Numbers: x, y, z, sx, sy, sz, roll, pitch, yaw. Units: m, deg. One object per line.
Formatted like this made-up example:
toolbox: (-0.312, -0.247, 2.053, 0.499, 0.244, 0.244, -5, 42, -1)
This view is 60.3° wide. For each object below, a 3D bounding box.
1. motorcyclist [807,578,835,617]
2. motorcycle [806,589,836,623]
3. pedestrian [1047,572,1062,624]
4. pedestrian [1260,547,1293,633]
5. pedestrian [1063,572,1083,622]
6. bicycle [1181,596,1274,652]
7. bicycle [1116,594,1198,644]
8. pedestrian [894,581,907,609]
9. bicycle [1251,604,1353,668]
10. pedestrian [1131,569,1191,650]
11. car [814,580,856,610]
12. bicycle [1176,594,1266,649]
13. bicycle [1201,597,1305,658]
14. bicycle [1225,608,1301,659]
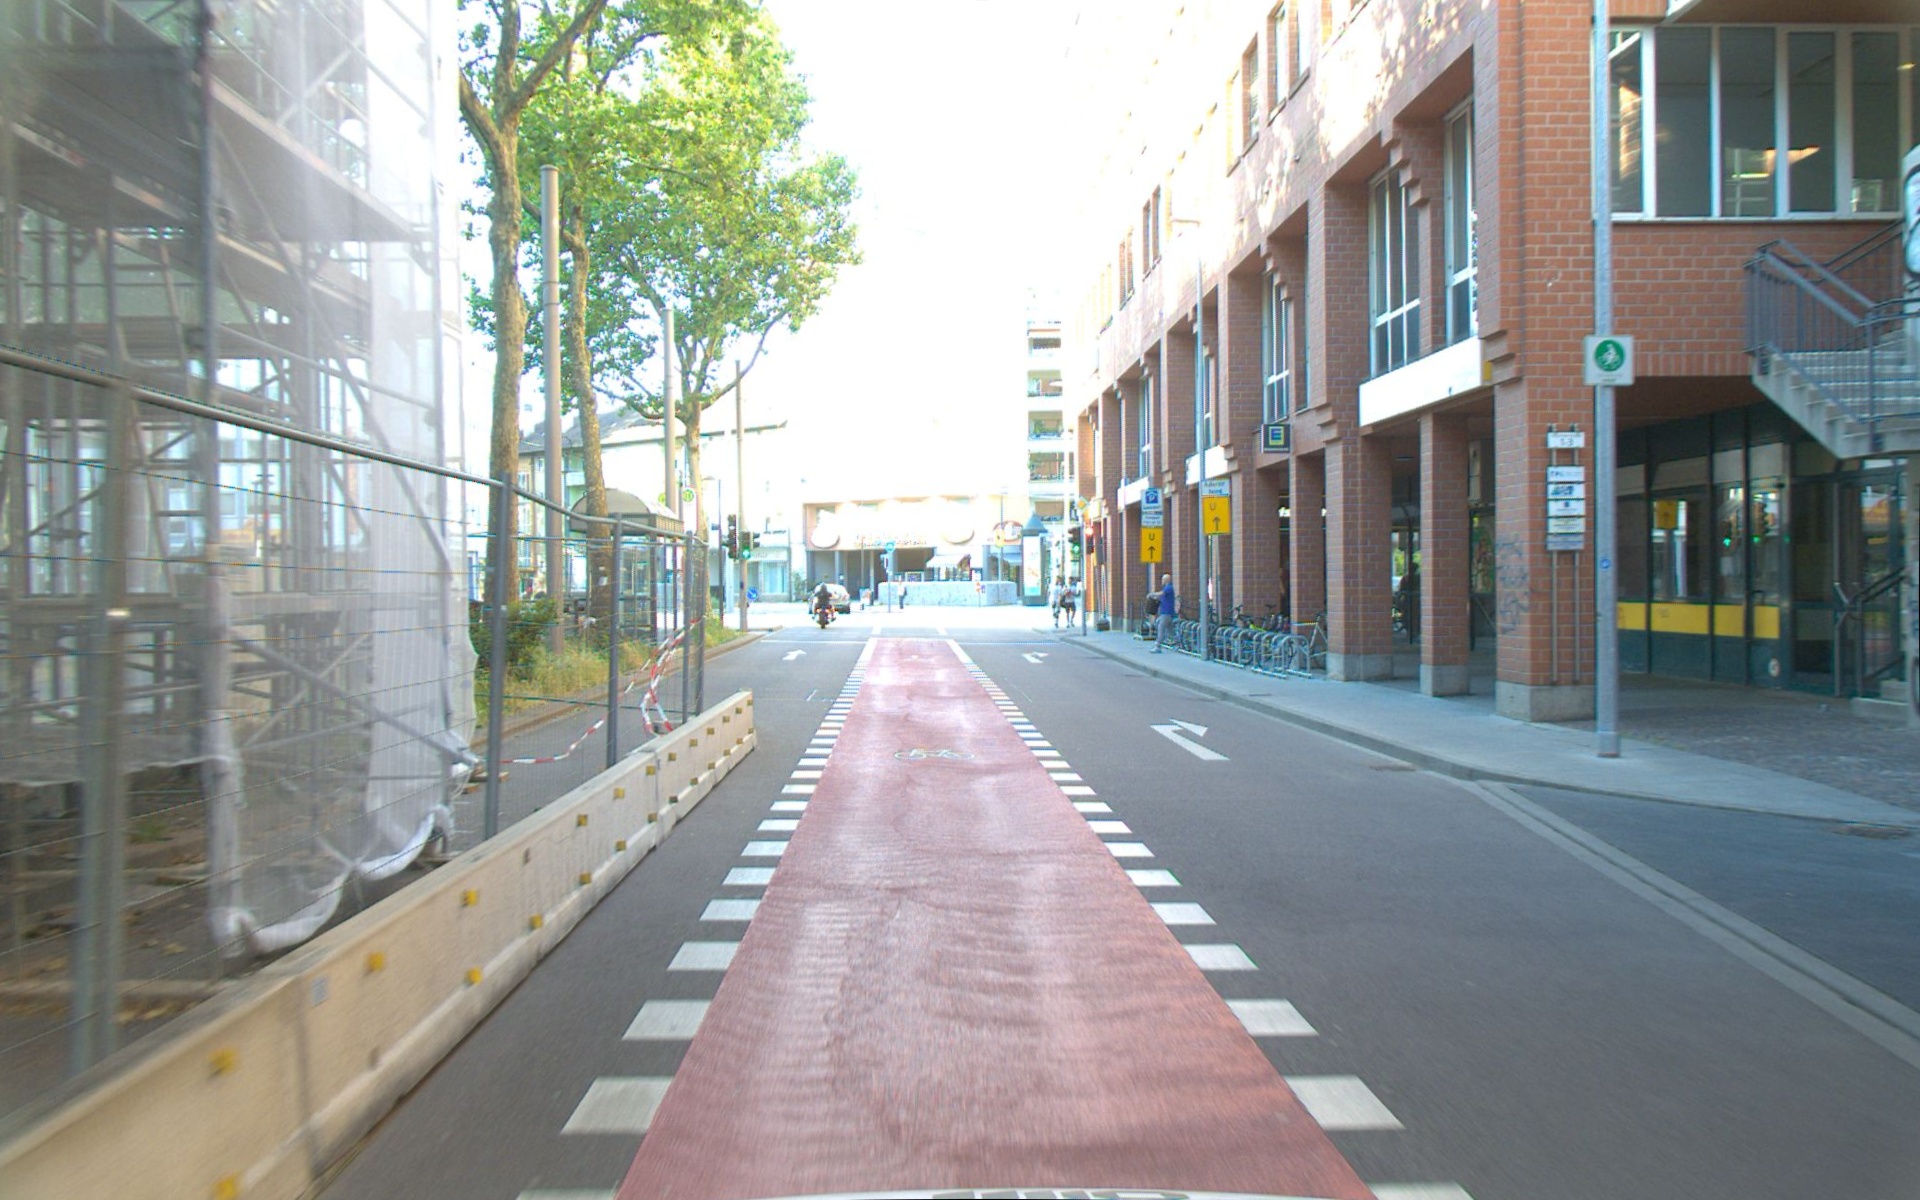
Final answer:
motorcyclist: (-4.912, -0.087, 58.455, 0.951, 1.370, 1.137, 1, 0, -3)
motorcycle: (-4.907, 0.200, 58.559, 0.954, 1.151, 2.803, 1, 0, -3)
pedestrian: (3.308, -0.077, 57.680, 0.466, 1.824, 0.541, 0, 0, -3)
pedestrian: (7.590, -0.241, 39.667, 0.596, 2.049, 0.660, -1, 0, -8)
pedestrian: (3.928, -0.106, 57.652, 0.621, 1.755, 0.630, 0, 0, -3)
bicycle: (5.636, 0.504, 34.897, 1.853, 1.138, 0.550, -1, 0, -3)
bicycle: (4.622, 0.439, 38.926, 1.853, 1.138, 0.474, -1, 0, -3)
pedestrian: (-3.413, -0.310, 95.198, 0.548, 1.611, 0.537, 0, 1, 45)
bicycle: (5.788, 0.606, 28.051, 1.579, 0.971, 0.555, -3, 1, -1)
pedestrian: (4.495, 0.208, 37.022, 1.170, 1.726, 0.885, -3, 0, 1)
car: (-6.173, -0.270, 81.325, 1.886, 1.413, 3.994, 0, 1, -7)
bicycle: (5.610, 0.451, 35.580, 1.853, 1.138, 0.474, -1, 0, -2)
bicycle: (5.701, 0.532, 32.257, 1.893, 1.075, 0.573, -2, 0, 1)
bicycle: (5.635, 0.622, 30.798, 1.307, 0.856, 0.425, -3, 1, -1)
